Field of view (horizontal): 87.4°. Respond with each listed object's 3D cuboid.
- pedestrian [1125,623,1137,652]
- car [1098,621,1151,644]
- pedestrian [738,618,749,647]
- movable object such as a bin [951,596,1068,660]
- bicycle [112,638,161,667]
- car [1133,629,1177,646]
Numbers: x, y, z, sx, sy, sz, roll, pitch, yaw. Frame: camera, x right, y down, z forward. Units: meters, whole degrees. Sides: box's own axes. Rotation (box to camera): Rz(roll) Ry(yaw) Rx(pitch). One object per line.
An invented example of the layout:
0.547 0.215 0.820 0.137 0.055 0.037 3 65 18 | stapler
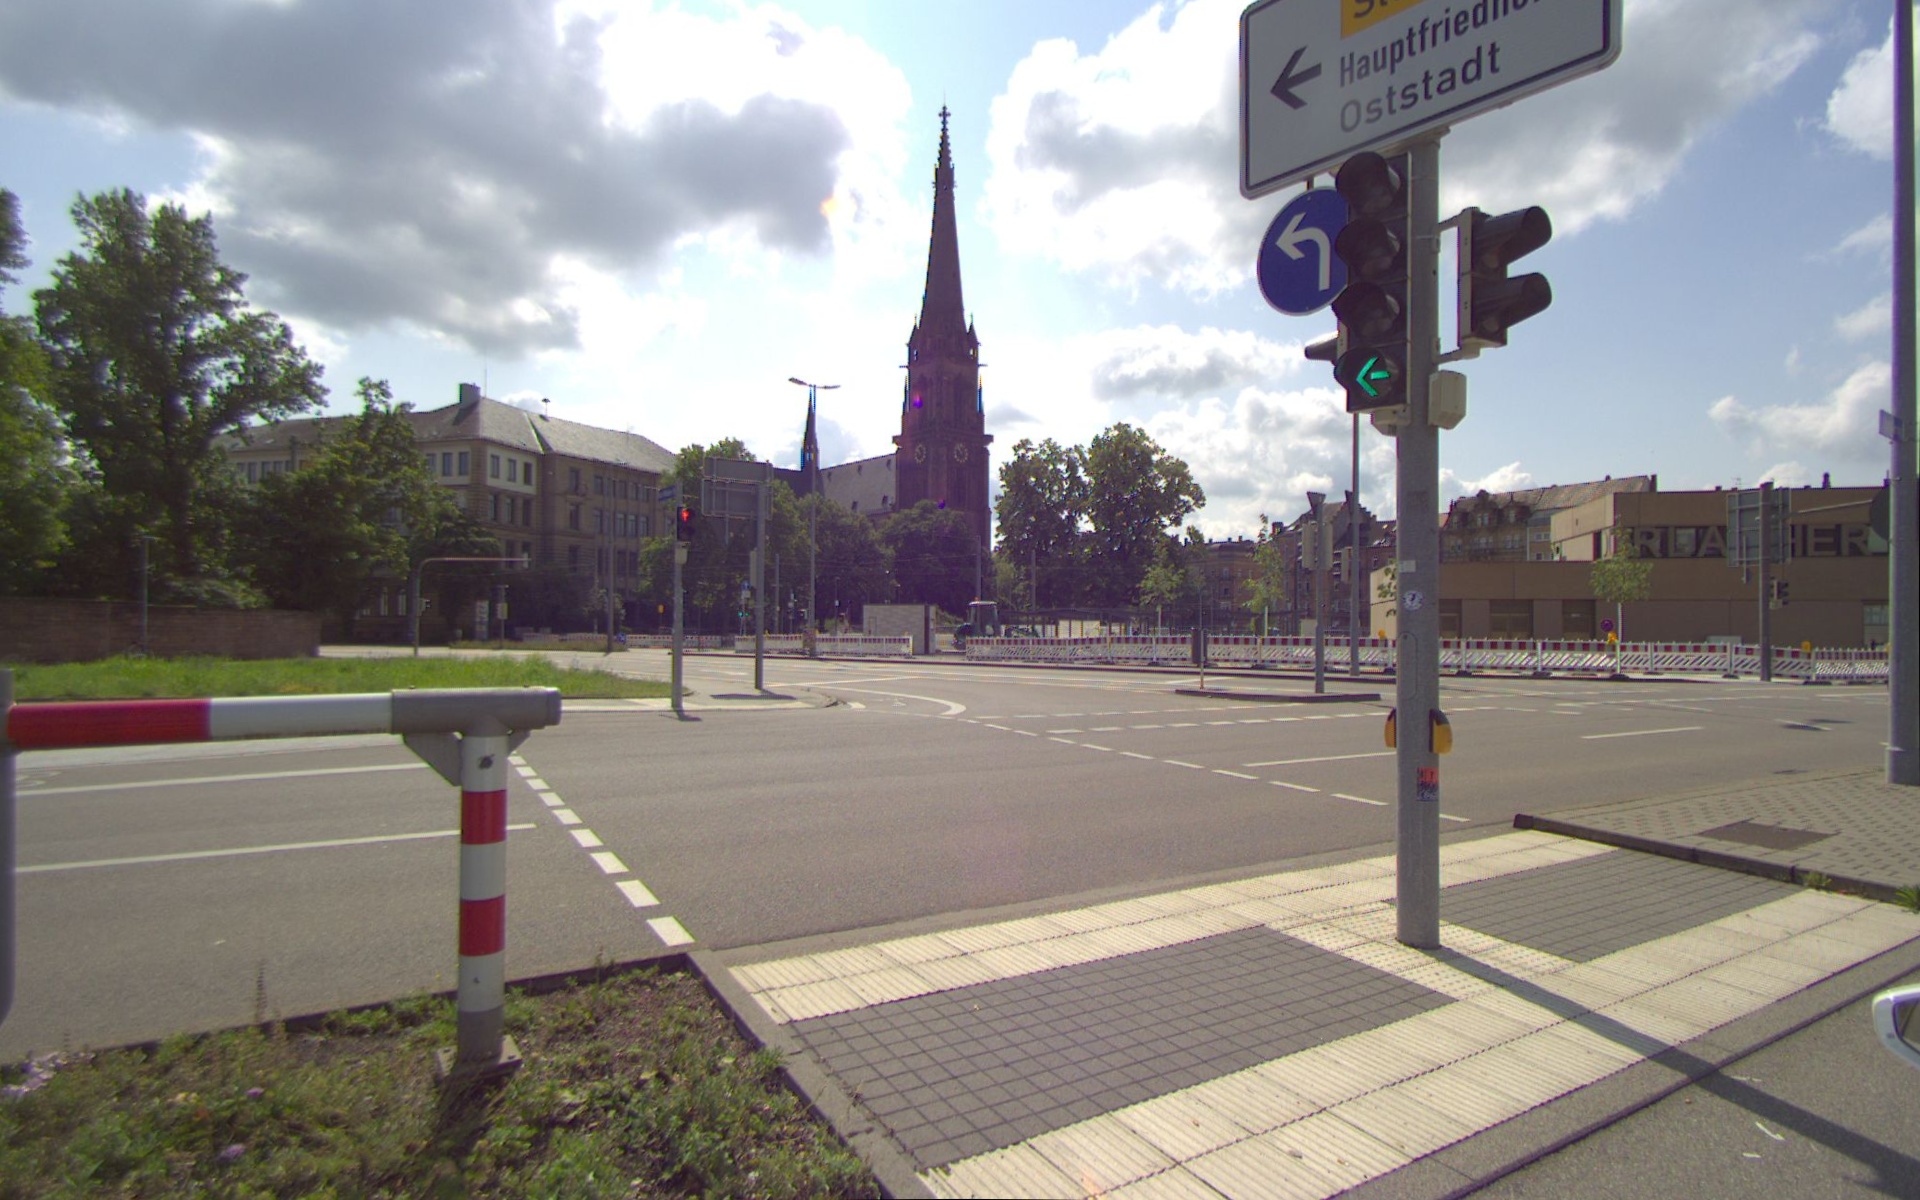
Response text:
12.208 2.663 71.749 0.747 2.040 0.751 0 -1 14 | pedestrian
13.681 2.695 83.487 4.096 1.906 1.804 0 -2 15 | car
-14.117 2.093 65.479 0.493 1.874 0.525 1 -2 -29 | pedestrian
2.421 1.347 48.035 5.430 2.922 2.290 0 -2 7 | movable object such as a bin
-29.900 1.902 36.512 0.386 1.005 1.524 0 -2 6 | bicycle
20.667 3.965 106.386 4.289 1.817 1.782 0 -2 25 | car
